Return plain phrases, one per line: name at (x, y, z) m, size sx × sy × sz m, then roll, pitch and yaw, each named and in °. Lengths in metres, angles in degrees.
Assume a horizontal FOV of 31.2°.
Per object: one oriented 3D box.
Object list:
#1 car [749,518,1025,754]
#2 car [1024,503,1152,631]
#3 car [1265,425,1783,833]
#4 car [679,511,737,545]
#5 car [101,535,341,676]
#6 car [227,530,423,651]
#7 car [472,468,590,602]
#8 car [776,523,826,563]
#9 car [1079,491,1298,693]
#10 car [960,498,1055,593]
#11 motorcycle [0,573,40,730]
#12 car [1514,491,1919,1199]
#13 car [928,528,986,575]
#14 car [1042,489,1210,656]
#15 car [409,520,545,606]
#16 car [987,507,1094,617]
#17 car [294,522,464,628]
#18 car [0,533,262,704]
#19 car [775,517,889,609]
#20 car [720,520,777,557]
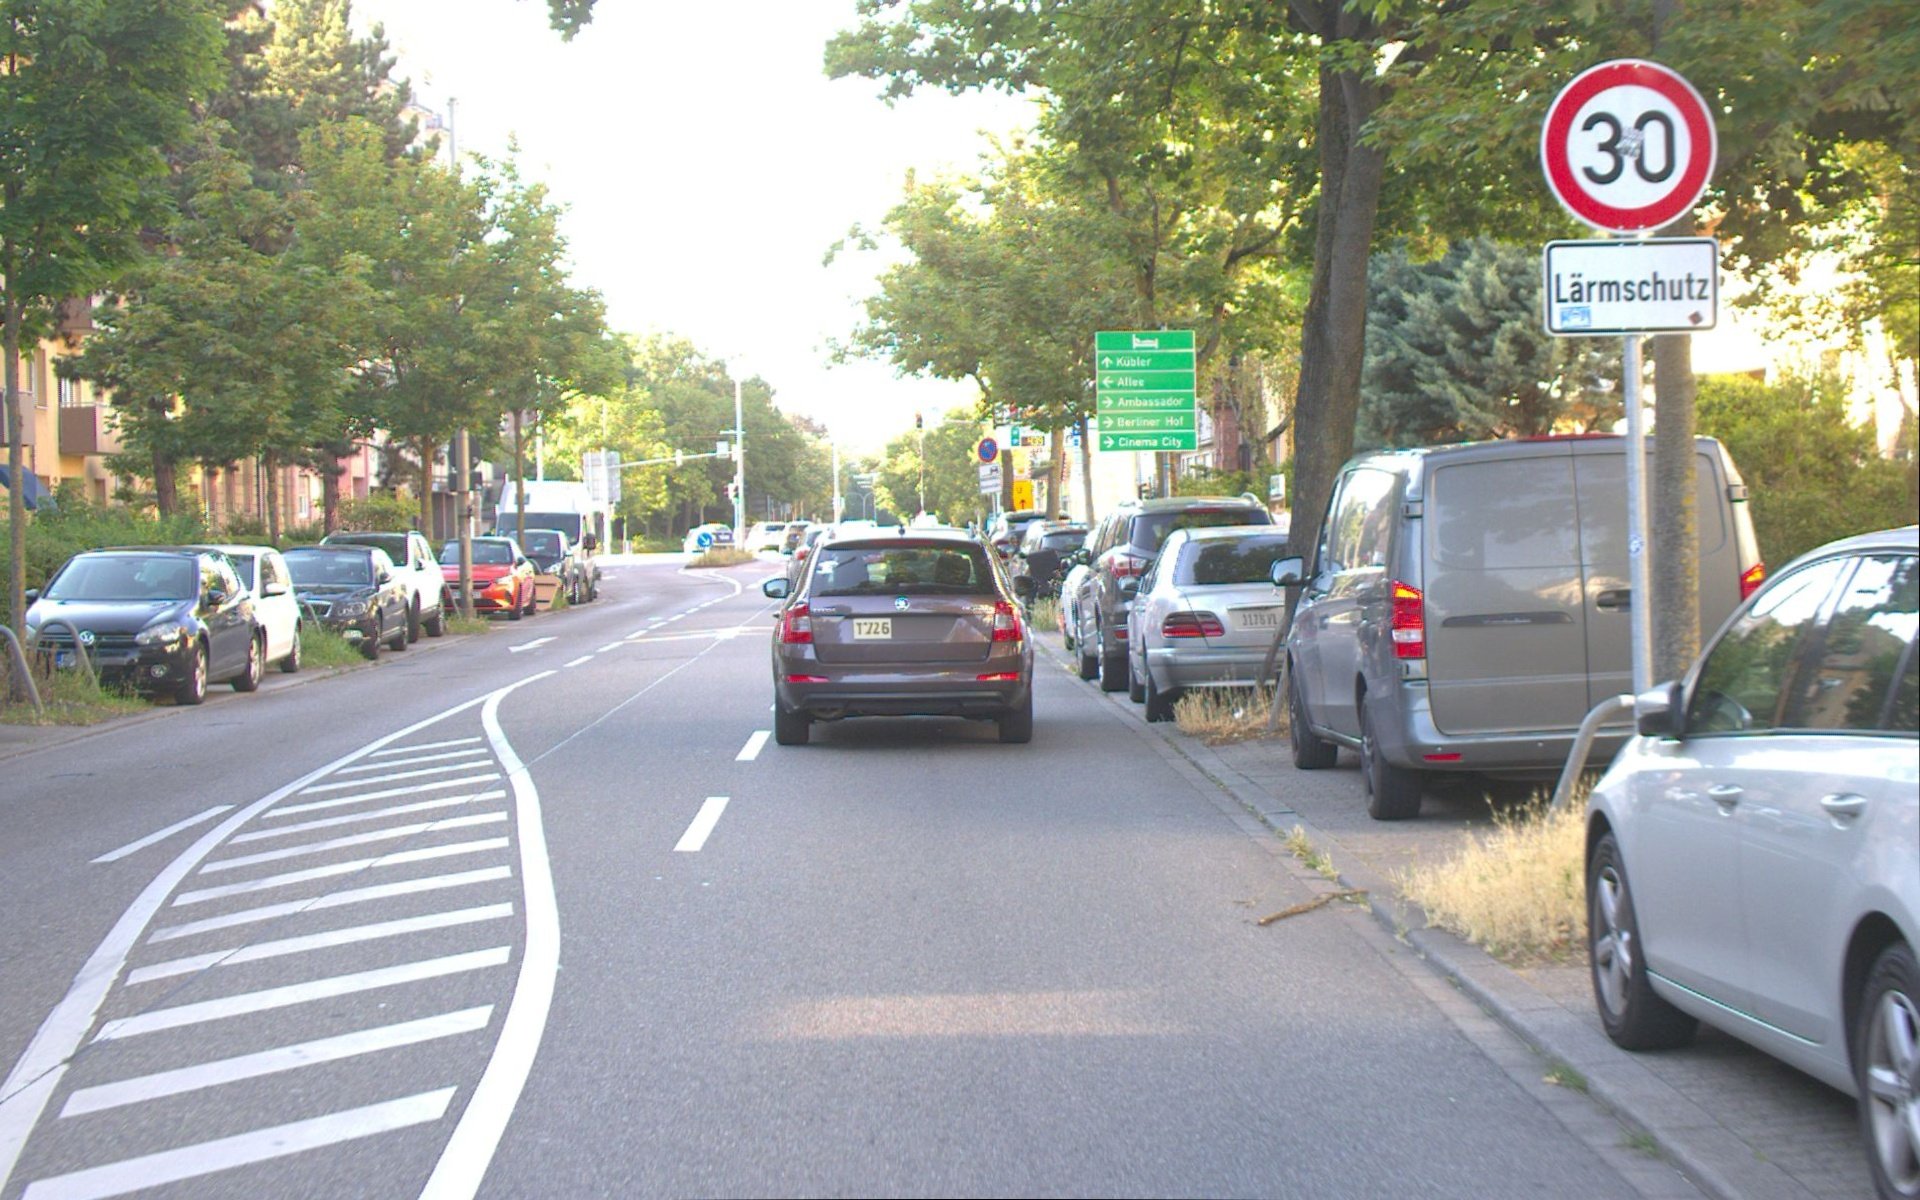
car at (-0.447, 0.181, 23.974) m, size 1.754 × 1.487 × 4.000 m, roll 0°, pitch 2°, yaw 1°
car at (1.848, -0.525, 50.634) m, size 1.754 × 1.799 × 4.000 m, roll 0°, pitch 2°, yaw 1°
car at (2.853, 0.059, 18.677) m, size 1.916 × 1.854 × 5.633 m, roll -1°, pitch 2°, yaw 1°
car at (-13.076, -3.732, 178.259) m, size 1.993 × 1.744 × 4.001 m, roll -2°, pitch 2°, yaw -19°
car at (-8.273, 0.021, 38.782) m, size 1.781 × 1.475 × 3.971 m, roll 0°, pitch 2°, yaw 1°
car at (-8.297, -0.162, 45.220) m, size 1.781 × 1.475 × 3.971 m, roll 0°, pitch 2°, yaw 1°
car at (-9.179, -1.420, 73.929) m, size 1.991 × 2.771 × 5.504 m, roll 0°, pitch 2°, yaw -2°
car at (-7.270, -2.632, 157.231) m, size 1.993 × 1.744 × 4.001 m, roll -1°, pitch 2°, yaw -6°
car at (2.020, -0.123, 31.320) m, size 1.754 × 1.709 × 4.000 m, roll 0°, pitch 2°, yaw 1°
car at (0.902, -1.086, 67.554) m, size 1.754 × 1.799 × 4.000 m, roll 0°, pitch 2°, yaw -1°
motorcycle at (-7.847, 0.408, 26.750) m, size 0.740 × 1.200 × 2.141 m, roll 0°, pitch 1°, yaw 2°
car at (2.647, 0.540, 8.390) m, size 1.754 × 1.551 × 4.105 m, roll 0°, pitch 1°, yaw -2°
car at (-0.125, -1.719, 121.620) m, size 1.644 × 1.593 × 3.651 m, roll -1°, pitch 2°, yaw -6°
car at (1.852, -0.356, 39.330) m, size 1.754 × 1.799 × 4.000 m, roll 0°, pitch 2°, yaw 1°
car at (-8.587, -0.686, 61.382) m, size 1.781 × 1.475 × 3.971 m, roll 0°, pitch 2°, yaw 1°
car at (1.429, -0.717, 62.038) m, size 1.754 × 1.799 × 4.000 m, roll -4°, pitch 1°, yaw 1°
car at (-8.556, -0.401, 50.912) m, size 1.781 × 1.475 × 3.971 m, roll 0°, pitch 2°, yaw 1°
car at (-7.914, 0.124, 32.423) m, size 1.781 × 1.475 × 4.033 m, roll 0°, pitch 2°, yaw 1°
car at (-2.256, -0.658, 60.999) m, size 1.892 × 1.501 × 3.790 m, roll 2°, pitch 0°, yaw -2°
car at (-10.213, -2.983, 166.021) m, size 1.993 × 1.744 × 4.001 m, roll -2°, pitch 2°, yaw -15°
